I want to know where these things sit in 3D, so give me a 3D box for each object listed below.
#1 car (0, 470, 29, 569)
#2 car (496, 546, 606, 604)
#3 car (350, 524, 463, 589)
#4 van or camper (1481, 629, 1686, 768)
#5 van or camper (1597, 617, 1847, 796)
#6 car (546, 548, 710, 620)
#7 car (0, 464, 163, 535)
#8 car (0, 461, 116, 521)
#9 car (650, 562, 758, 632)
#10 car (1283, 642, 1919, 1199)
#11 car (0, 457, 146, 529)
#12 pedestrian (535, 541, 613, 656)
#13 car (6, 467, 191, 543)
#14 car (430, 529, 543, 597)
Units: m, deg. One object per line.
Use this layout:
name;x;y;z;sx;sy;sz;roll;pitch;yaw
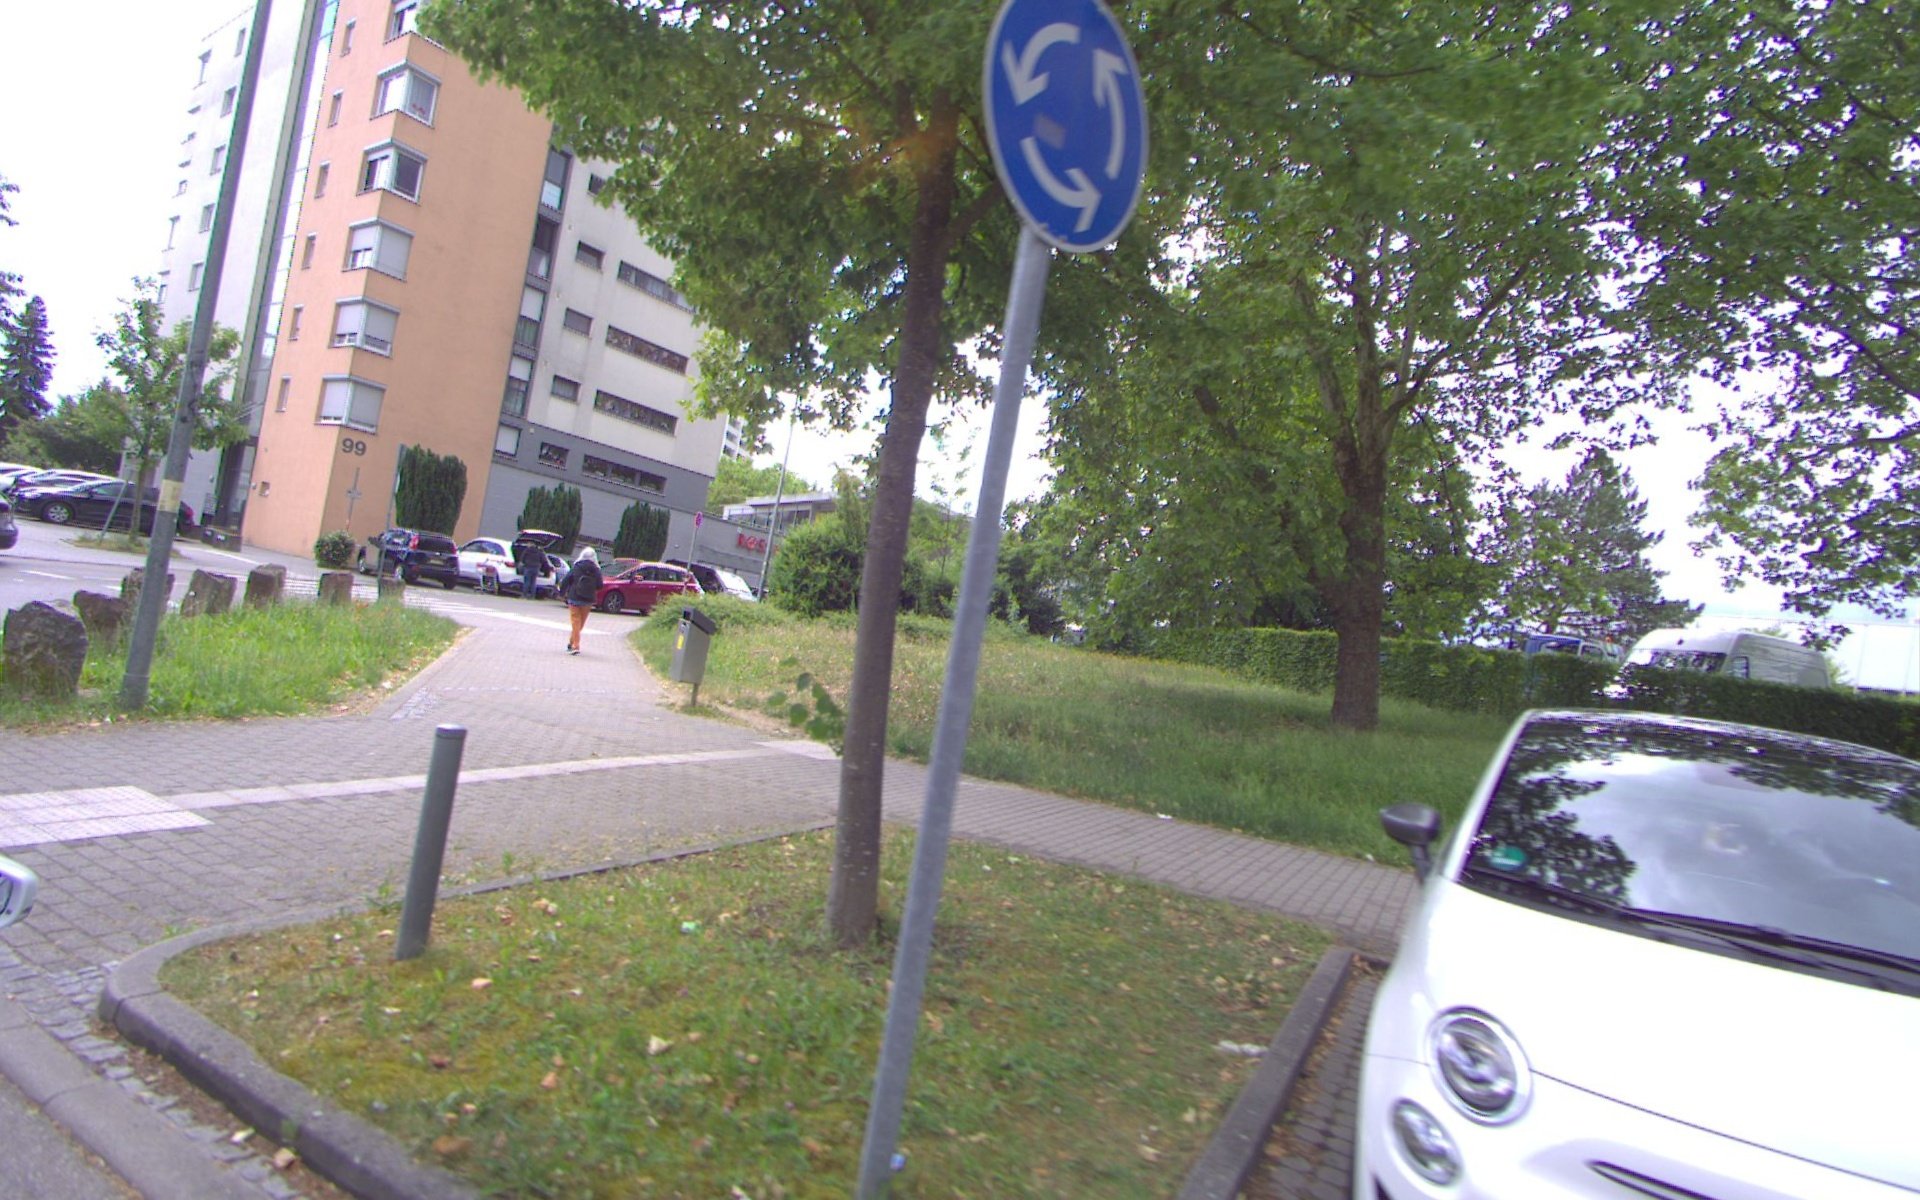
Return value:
car;-17.996;-1.615;16.267;1.696;1.637;3.996;7;-1;38
car;-13.762;-0.854;33.805;3.719;1.500;1.636;7;0;37
car;-16.247;-1.293;29.505;3.472;1.494;1.500;7;0;37
van or camper;16.024;2.517;25.849;4.426;2.829;2.104;10;-2;-24
van or camper;15.123;2.129;19.937;4.433;2.829;2.100;10;-2;-29
car;-9.979;-0.432;30.603;1.946;1.665;4.530;8;0;28
car;-28.797;-3.261;32.945;1.668;1.475;3.828;7;-3;40
car;-34.161;-4.106;37.365;1.732;1.534;3.980;7;-3;42
car;-10.172;-0.139;39.905;3.916;2.185;1.826;7;-2;37
car;2.274;1.090;3.098;1.709;1.478;3.520;8;-2;30
car;-30.587;-3.650;34.229;1.667;1.611;4.123;7;-3;38
pedestrian;-6.138;-0.022;15.980;0.828;1.684;0.612;7;-2;41
car;-26.832;-2.930;31.432;1.730;1.534;4.042;7;-3;40
car;-15.066;-1.192;31.926;3.719;1.679;1.568;7;0;37
